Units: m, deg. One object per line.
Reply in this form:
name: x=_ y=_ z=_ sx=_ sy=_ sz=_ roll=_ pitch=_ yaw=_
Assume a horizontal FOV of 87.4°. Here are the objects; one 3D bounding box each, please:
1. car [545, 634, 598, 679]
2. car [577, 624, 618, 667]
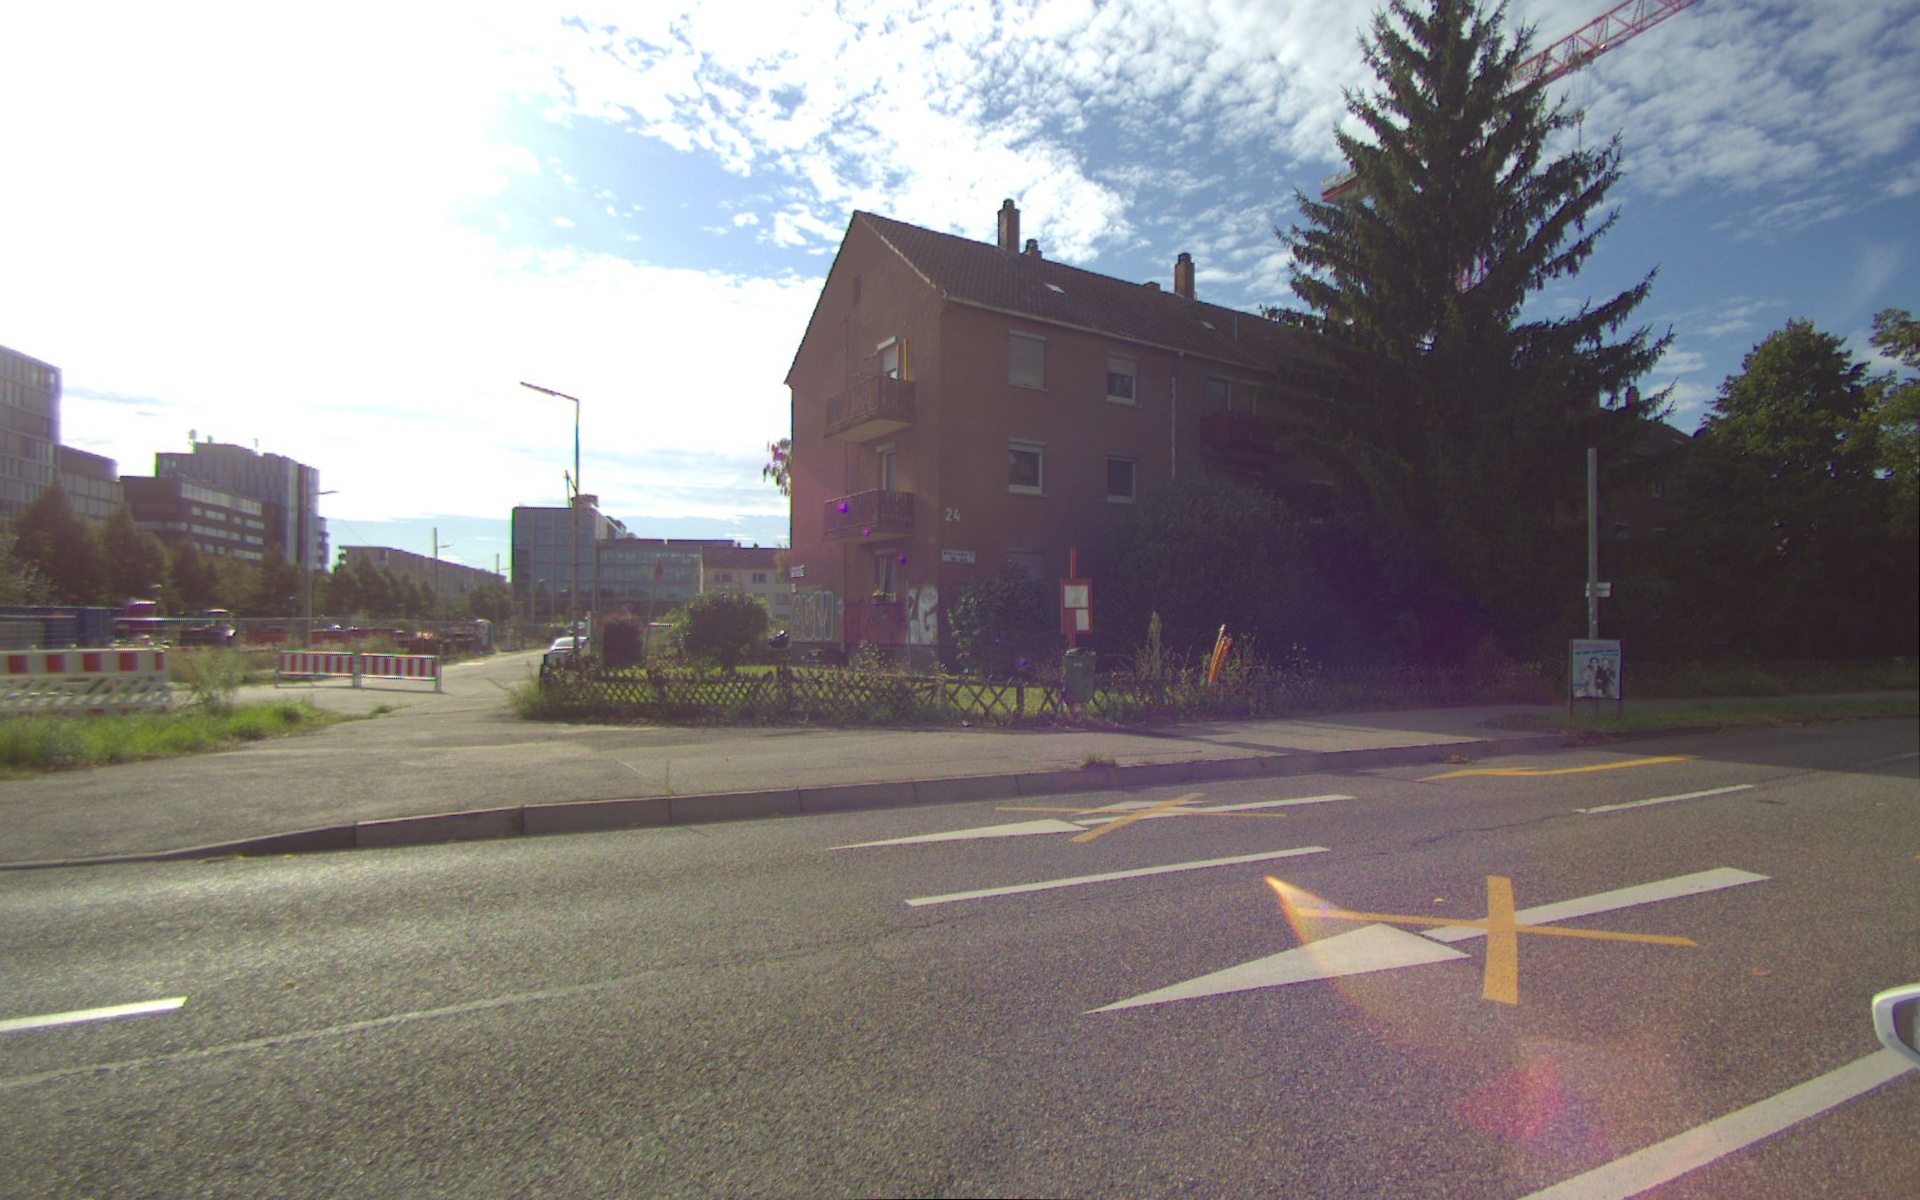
car: x=-16.608 y=2.387 z=43.069 sx=1.969 sy=1.576 sz=3.982 roll=0 pitch=2 yaw=-20
car: x=-19.459 y=2.406 z=53.976 sx=1.969 sy=1.977 sz=3.982 roll=0 pitch=2 yaw=-20
